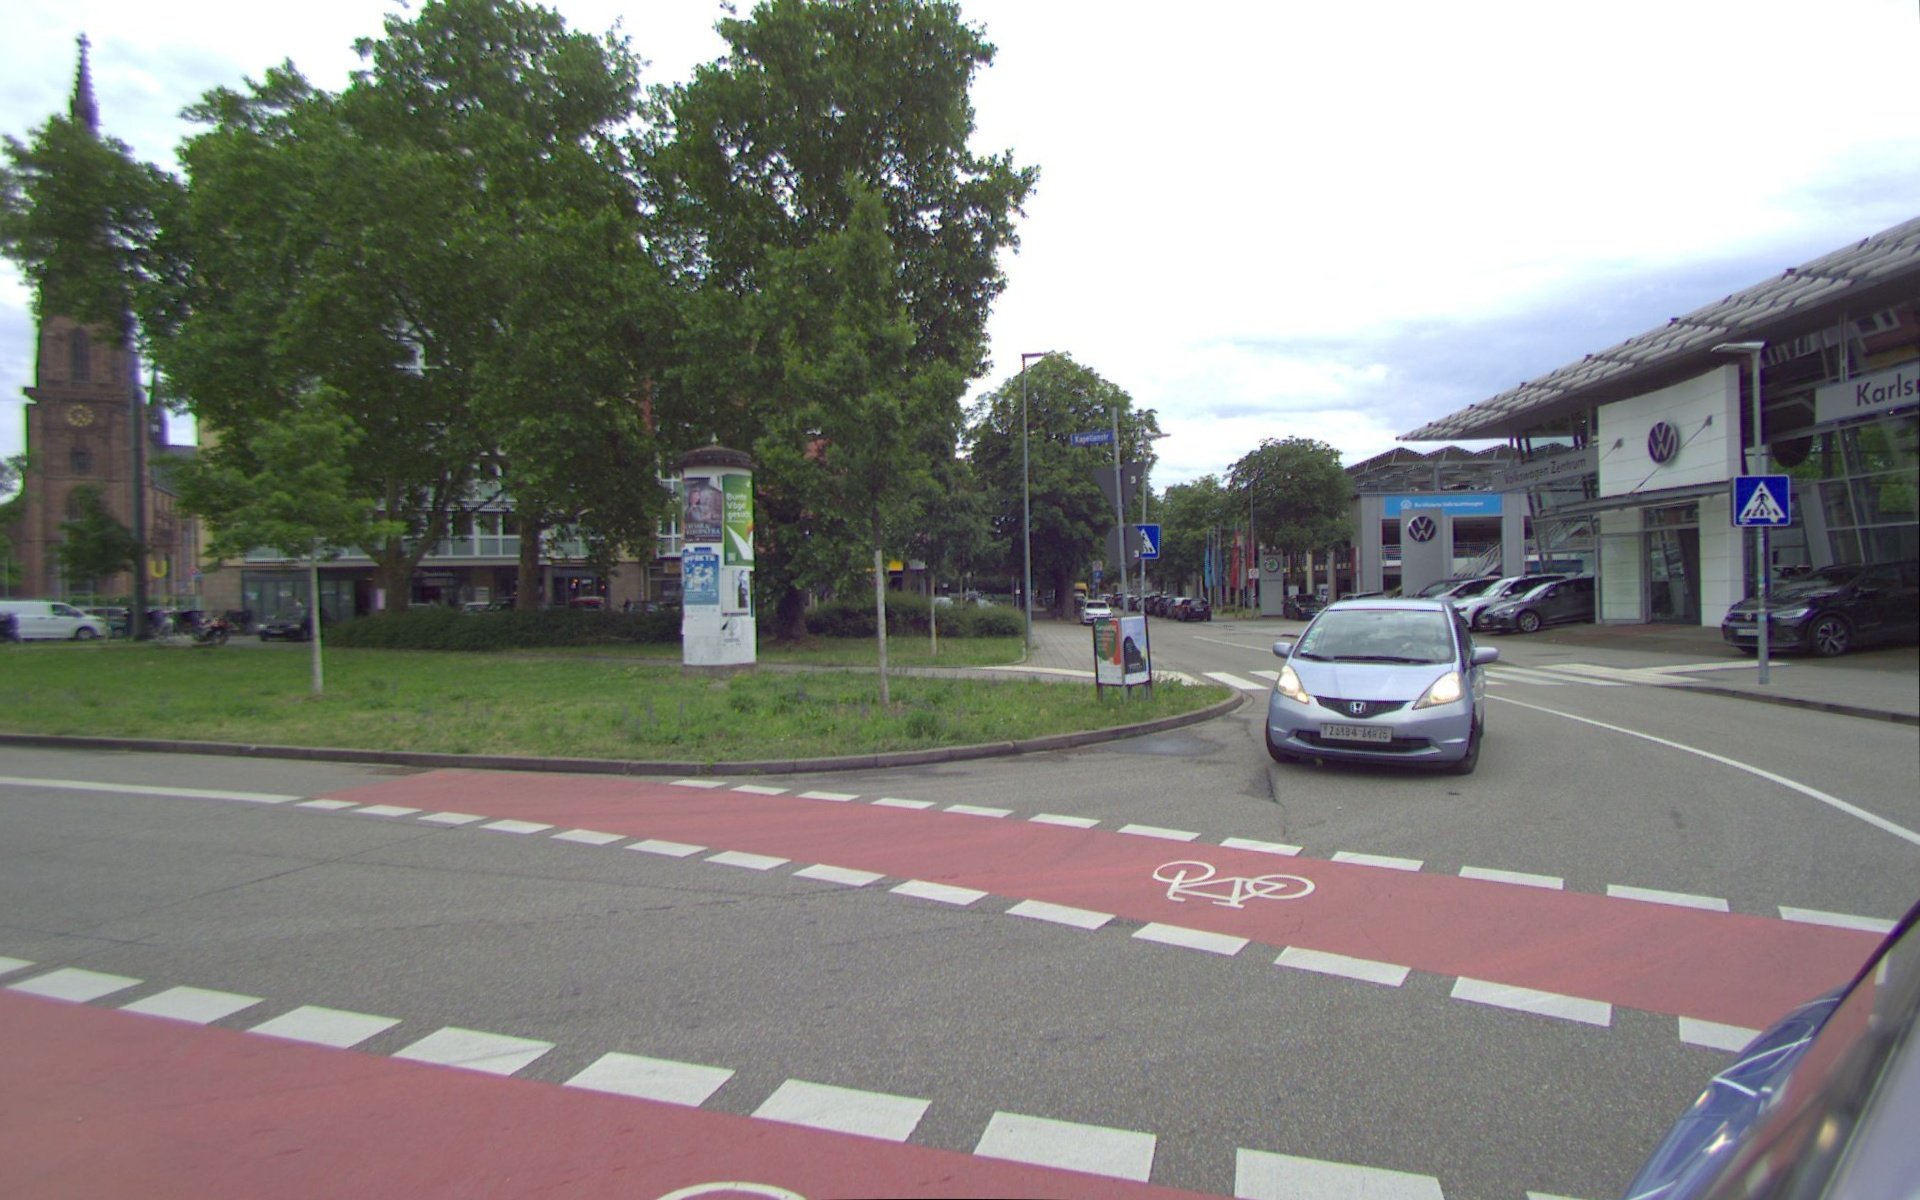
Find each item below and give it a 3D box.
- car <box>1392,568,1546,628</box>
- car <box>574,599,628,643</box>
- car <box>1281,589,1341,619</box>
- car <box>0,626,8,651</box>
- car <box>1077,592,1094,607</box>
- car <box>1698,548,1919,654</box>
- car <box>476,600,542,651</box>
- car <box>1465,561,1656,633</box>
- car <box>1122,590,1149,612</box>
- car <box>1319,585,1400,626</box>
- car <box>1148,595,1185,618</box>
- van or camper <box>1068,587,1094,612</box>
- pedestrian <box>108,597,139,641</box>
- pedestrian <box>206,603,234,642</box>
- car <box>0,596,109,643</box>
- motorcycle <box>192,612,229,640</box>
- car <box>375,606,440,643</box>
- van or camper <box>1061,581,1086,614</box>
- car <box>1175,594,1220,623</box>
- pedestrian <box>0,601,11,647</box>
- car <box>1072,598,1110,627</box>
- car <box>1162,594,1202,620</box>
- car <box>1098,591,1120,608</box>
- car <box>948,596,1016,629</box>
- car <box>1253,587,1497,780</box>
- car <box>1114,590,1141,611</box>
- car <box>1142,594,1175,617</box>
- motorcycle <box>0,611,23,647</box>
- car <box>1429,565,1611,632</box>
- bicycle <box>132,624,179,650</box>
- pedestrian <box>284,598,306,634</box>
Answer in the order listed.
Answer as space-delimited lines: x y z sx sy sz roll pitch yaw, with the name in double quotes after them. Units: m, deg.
18.103 -0.052 36.175 4.396 1.721 1.867 -5 -1 4 "car"
-13.769 0.769 38.886 1.822 1.567 4.484 -1 0 -19 "car"
20.078 0.205 58.099 1.863 1.567 4.474 -3 0 1 "car"
-61.967 2.503 62.945 1.823 1.567 4.483 -3 0 -10 "car"
18.764 -0.095 151.474 1.986 2.010 4.781 -3 0 1 "car"
17.000 -0.032 19.262 4.423 1.653 1.861 -5 -1 -2 "car"
-16.717 0.904 37.652 1.822 1.744 4.484 -1 0 -19 "car"
17.943 -0.063 30.407 4.395 1.718 1.895 -5 -1 3 "car"
16.953 0.109 98.196 1.826 2.010 4.474 -3 0 1 "car"
17.136 0.255 43.626 1.884 1.583 4.012 -3 -1 1 "car"
15.443 0.459 75.793 1.826 1.644 4.474 -3 0 1 "car"
10.386 -0.015 86.766 1.964 2.039 3.995 -1 0 4 "van or camper"
-32.621 0.741 39.488 0.624 1.659 0.873 -1 -1 -16 "pedestrian"
-32.221 0.980 44.057 0.717 1.659 0.707 -2 -1 23 "pedestrian"
-44.251 0.936 47.976 2.013 2.039 5.669 -3 0 34 "car"
-27.882 0.949 37.655 1.009 1.010 0.862 -2 0 38 "motorcycle"
-24.758 1.059 45.485 1.822 1.508 4.484 -1 0 -19 "car"
10.218 -0.218 91.172 1.964 2.807 3.995 -1 0 4 "van or camper"
15.149 0.514 64.712 1.826 1.644 4.474 -3 0 1 "car"
-39.019 0.984 40.551 1.065 1.820 0.949 -3 0 -14 "pedestrian"
7.555 0.684 58.772 1.827 1.567 4.472 0 0 3 "car"
15.423 0.478 70.546 1.826 1.644 4.474 -3 0 1 "car"
18.392 -0.061 124.912 1.986 2.010 4.781 -3 0 1 "car"
1.104 0.616 53.275 1.823 1.567 4.484 -2 1 -24 "car"
4.301 0.644 10.096 1.739 1.485 4.055 -1 0 30 "car"
17.192 0.079 103.938 1.986 2.010 4.781 -3 0 1 "car"
15.793 0.424 80.706 1.826 1.644 4.474 -3 0 1 "car"
-32.938 0.998 34.057 0.752 1.183 2.388 -1 0 -4 "motorcycle"
18.223 -0.049 33.118 4.690 1.721 1.859 -5 -1 4 "car"
-30.243 1.387 38.042 1.238 0.929 0.596 -1 0 -13 "bicycle"
-31.345 0.741 47.706 0.624 1.659 0.788 -1 -1 -17 "pedestrian"
